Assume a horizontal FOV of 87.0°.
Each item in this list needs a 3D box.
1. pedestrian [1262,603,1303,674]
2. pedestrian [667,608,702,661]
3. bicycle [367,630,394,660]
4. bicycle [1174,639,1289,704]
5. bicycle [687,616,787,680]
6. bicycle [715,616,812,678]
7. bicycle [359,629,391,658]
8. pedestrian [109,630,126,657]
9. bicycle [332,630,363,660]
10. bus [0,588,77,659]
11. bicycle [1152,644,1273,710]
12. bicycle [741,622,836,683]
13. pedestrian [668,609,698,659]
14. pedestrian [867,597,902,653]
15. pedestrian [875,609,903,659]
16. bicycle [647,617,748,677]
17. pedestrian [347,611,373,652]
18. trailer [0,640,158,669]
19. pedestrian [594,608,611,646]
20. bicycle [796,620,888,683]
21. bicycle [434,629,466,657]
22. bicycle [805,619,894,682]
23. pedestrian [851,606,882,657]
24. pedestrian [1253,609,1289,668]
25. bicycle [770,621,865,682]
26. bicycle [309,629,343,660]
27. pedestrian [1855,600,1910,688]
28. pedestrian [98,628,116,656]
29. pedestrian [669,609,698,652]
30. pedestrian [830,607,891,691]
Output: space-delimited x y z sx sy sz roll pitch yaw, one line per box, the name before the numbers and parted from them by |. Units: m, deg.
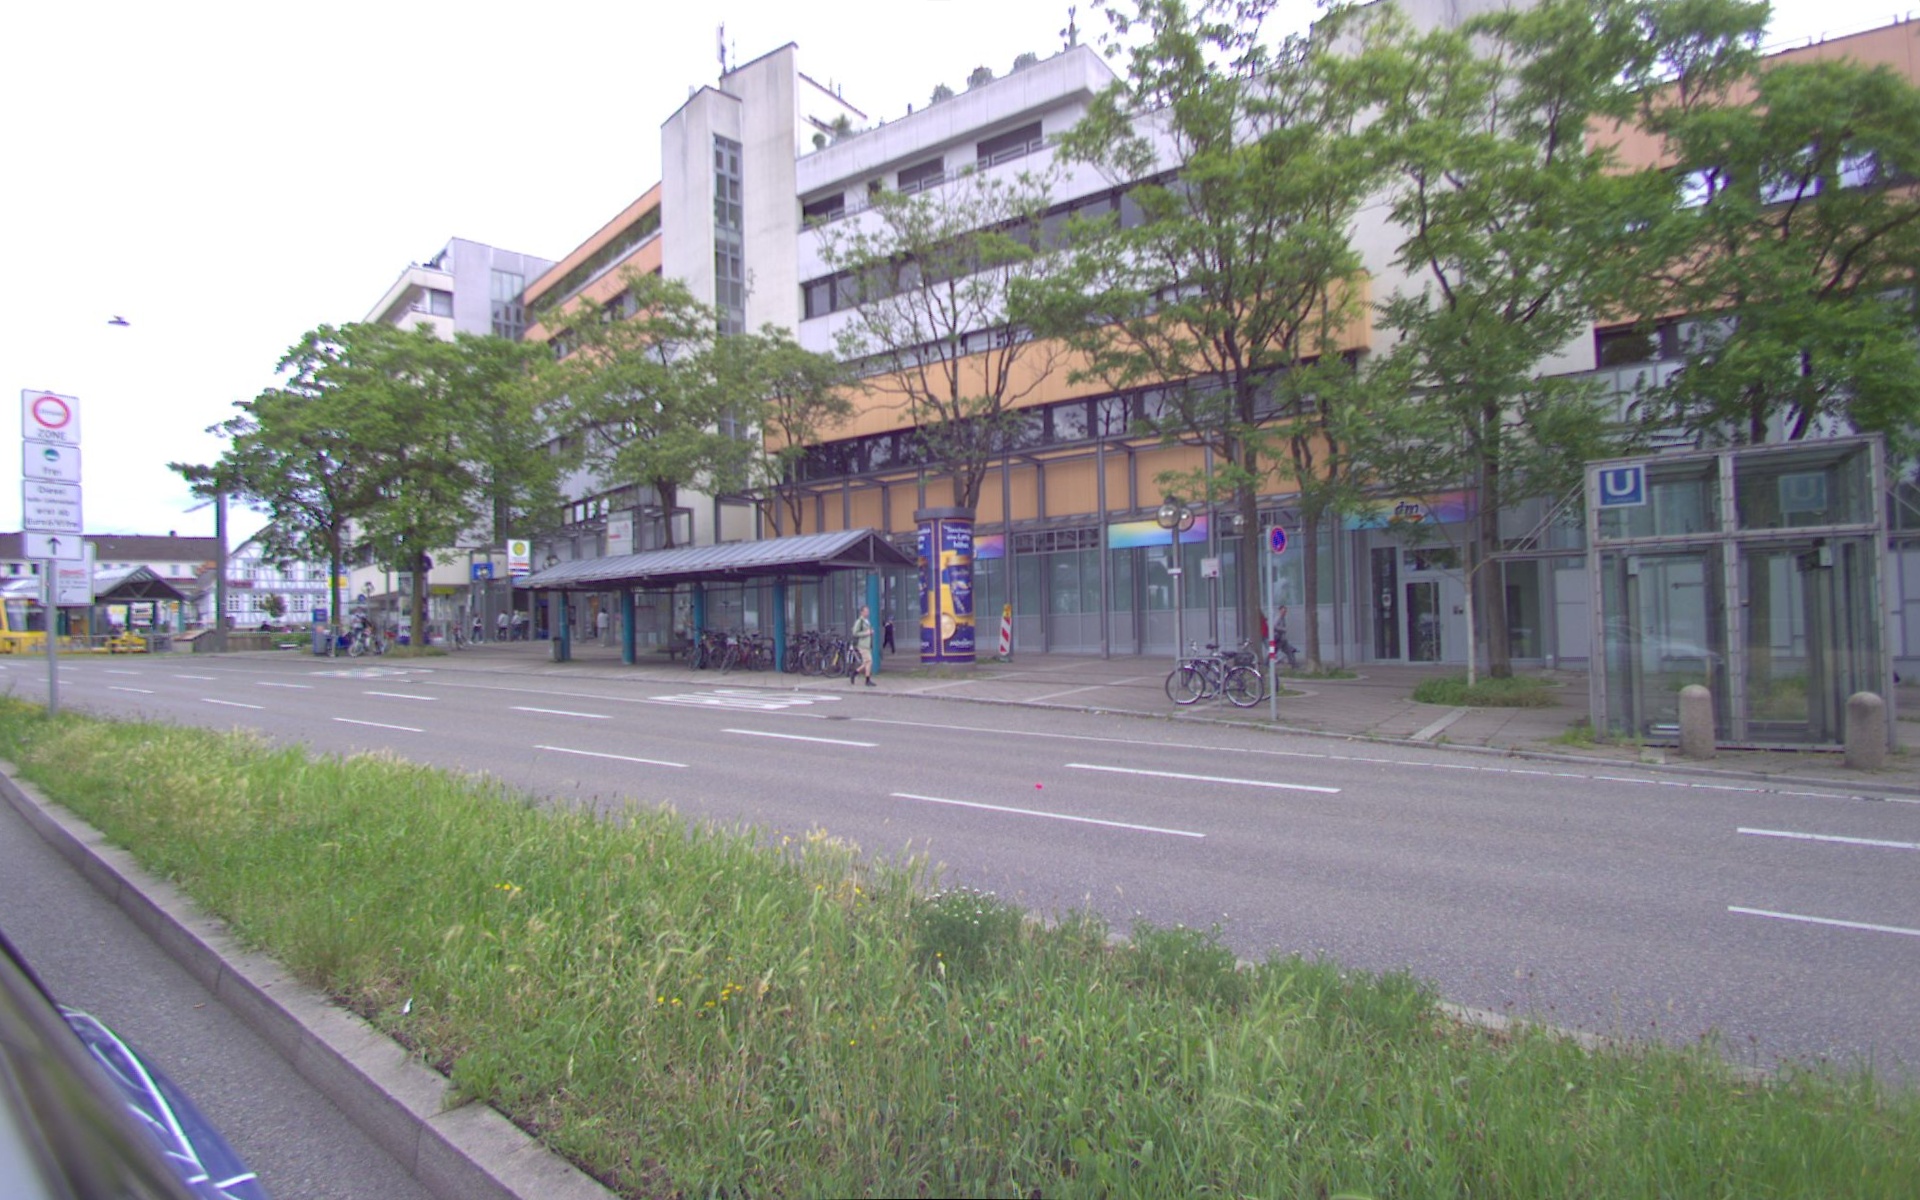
pedestrian | 8.142 0.959 25.534 0.787 1.729 0.764 -2 0 32
pedestrian | -9.104 1.137 33.450 0.705 1.725 0.768 -2 0 35
bicycle | -22.803 1.768 39.850 0.594 1.170 1.695 0 -2 -19
bicycle | 5.026 1.301 18.761 1.946 1.145 0.709 -1 -2 26
bicycle | -6.111 1.284 27.939 0.888 1.518 2.877 -2 1 32
bicycle | -5.302 1.239 27.547 0.809 1.518 2.876 -2 0 33
bicycle | -23.717 1.763 41.002 1.966 1.170 0.596 -3 -3 44
pedestrian | -49.854 2.586 59.916 0.618 1.585 0.594 -2 -2 30
bicycle | -24.156 1.771 39.933 0.594 1.170 1.971 0 -2 -18
bus | -60.534 1.622 61.624 19.255 3.889 3.851 -2 -2 29
bicycle | 4.438 1.338 17.826 1.926 1.092 0.825 -2 -2 27
bicycle | -4.525 1.362 26.968 0.803 1.518 2.876 -2 -2 32
pedestrian | -9.869 1.190 36.033 0.763 1.729 0.789 -2 0 -32
pedestrian | -2.773 0.915 37.109 0.932 2.029 0.888 -1 -2 35
pedestrian | -2.333 1.107 33.276 0.621 1.612 0.627 -2 0 35
bicycle | -7.412 1.303 28.740 0.969 1.518 2.877 -2 0 32
pedestrian | -28.258 1.480 47.637 0.871 1.891 0.738 -2 -2 32
trailer | -47.023 2.881 53.513 12.072 1.343 2.822 -2 -2 29
pedestrian | -15.504 1.182 43.892 0.623 1.612 0.625 -2 0 -23
bicycle | -2.973 1.286 25.916 0.698 1.518 2.876 -2 -2 32
bicycle | -21.444 1.805 42.611 0.663 1.170 2.023 -1 -2 -11
bicycle | -2.779 1.262 25.841 0.597 1.518 2.876 -2 -2 32
pedestrian | -3.028 1.016 32.751 0.705 1.595 0.660 -2 0 35
pedestrian | 8.576 1.053 27.908 0.822 1.598 0.629 -1 -2 31
bicycle | -3.678 1.307 26.414 0.776 1.518 2.876 -2 -2 32
bicycle | -25.029 1.742 39.978 0.594 1.170 1.971 -2 0 -17
pedestrian | 18.595 0.877 20.406 0.678 1.740 0.560 -2 -2 32
pedestrian | -49.509 2.431 58.722 0.618 1.585 0.594 -2 -2 30
pedestrian | -11.554 1.275 42.284 0.787 1.729 0.764 -2 0 32
pedestrian | -2.270 1.096 23.012 1.212 1.836 0.697 -1 1 37
